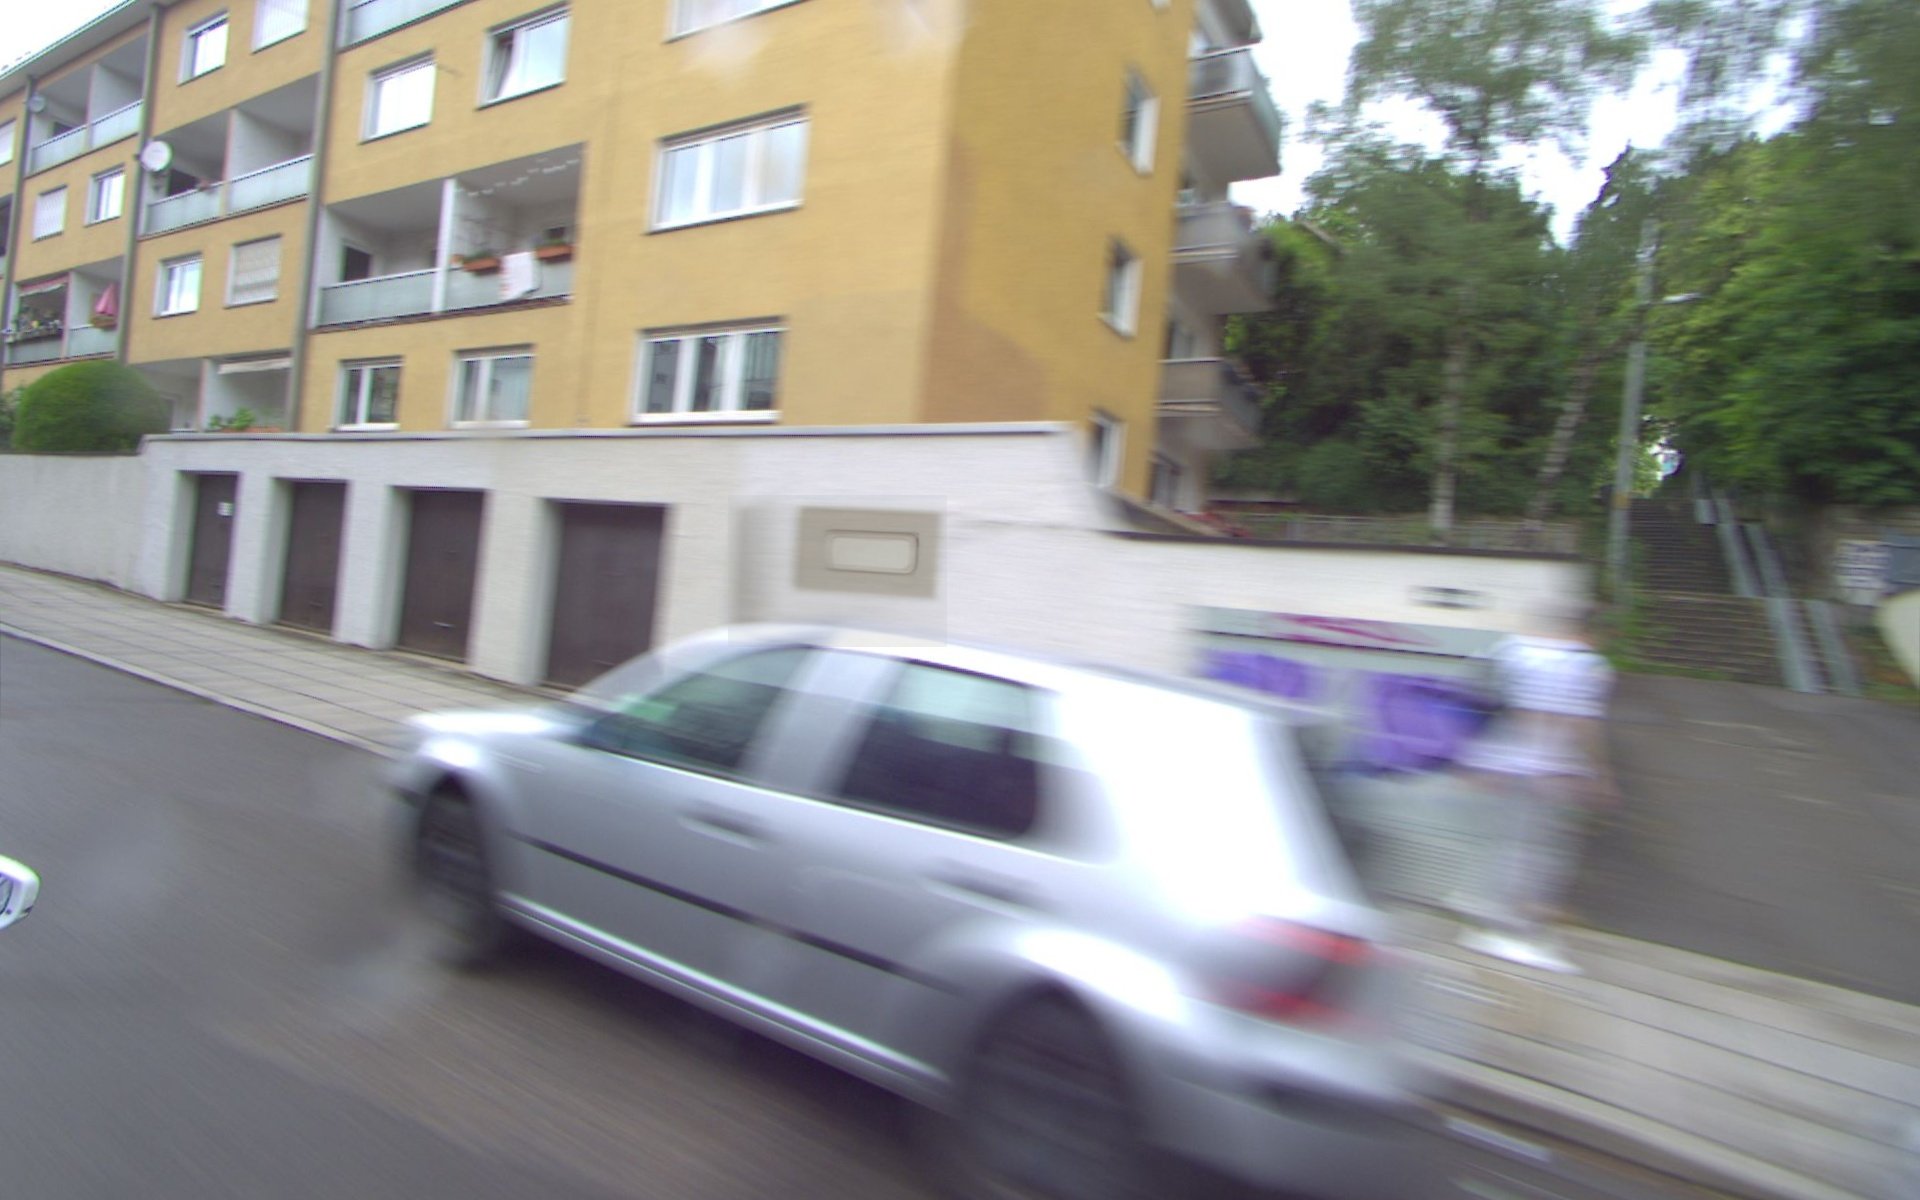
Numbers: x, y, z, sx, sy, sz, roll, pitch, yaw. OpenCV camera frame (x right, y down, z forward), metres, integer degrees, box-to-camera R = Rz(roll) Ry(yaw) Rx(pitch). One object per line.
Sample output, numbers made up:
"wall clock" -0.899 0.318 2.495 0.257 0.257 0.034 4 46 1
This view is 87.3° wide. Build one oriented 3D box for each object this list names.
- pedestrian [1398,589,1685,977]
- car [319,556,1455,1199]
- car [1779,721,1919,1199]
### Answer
"pedestrian" 2.890 0.877 5.090 0.731 1.756 0.766 6 3 -9
"car" -0.422 0.758 3.748 3.855 1.417 1.666 6 -1 31
"car" 3.577 1.197 1.103 3.856 1.520 1.665 6 -1 32
